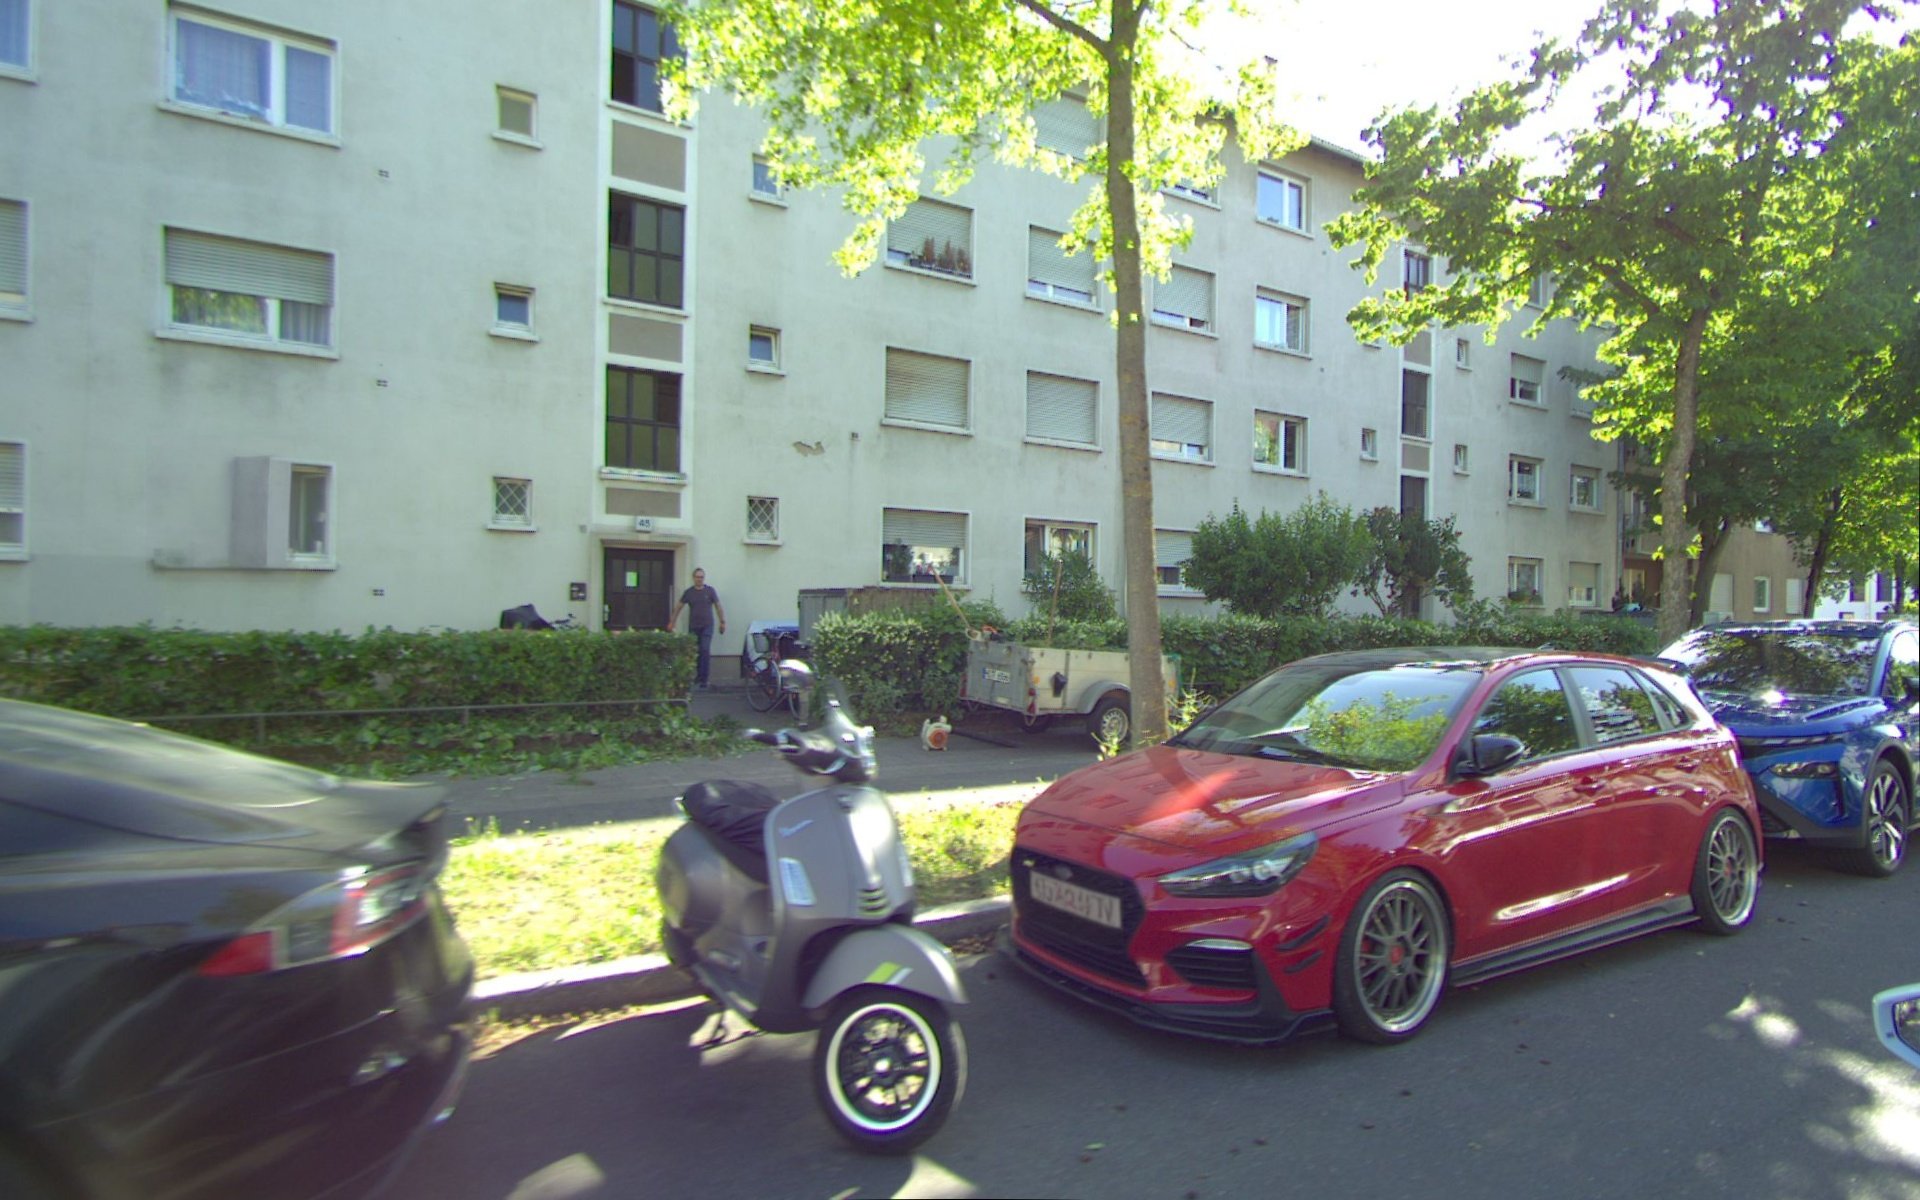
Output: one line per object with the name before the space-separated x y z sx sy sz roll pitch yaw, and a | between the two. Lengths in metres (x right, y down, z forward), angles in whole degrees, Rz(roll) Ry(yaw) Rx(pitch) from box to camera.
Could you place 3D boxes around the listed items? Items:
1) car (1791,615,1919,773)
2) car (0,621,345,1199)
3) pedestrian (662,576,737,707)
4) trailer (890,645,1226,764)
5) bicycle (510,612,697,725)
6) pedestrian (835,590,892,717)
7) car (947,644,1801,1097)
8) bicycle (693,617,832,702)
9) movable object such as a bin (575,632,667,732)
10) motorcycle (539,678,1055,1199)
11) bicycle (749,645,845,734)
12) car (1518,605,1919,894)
car | 10.641 0.918 10.488 4.076 1.472 1.820 1 -2 -32
car | -3.635 0.806 1.501 4.566 1.496 1.720 1 -4 -31
pedestrian | -3.983 0.628 15.313 1.010 1.913 0.932 1 -1 -20
trailer | 1.072 1.044 10.967 3.241 1.047 1.781 1 -1 -29
bicycle | -4.276 0.789 12.054 1.955 1.247 1.089 1 -1 -30
pedestrian | -1.506 0.825 15.797 0.862 1.939 0.783 1 -1 -4
car | 2.185 0.922 4.995 4.213 1.397 1.771 1 -3 -31
bicycle | -2.827 0.851 14.526 1.918 1.168 0.513 1 0 -8
movable object such as a bin | -3.798 0.892 11.244 0.833 1.047 0.879 1 -1 -29
motorcycle | -0.748 0.972 3.666 0.802 1.287 2.266 1 -3 -40
bicycle | -2.034 1.057 12.325 0.508 0.929 1.939 1 0 -30
car | 6.241 0.918 7.548 4.420 1.587 1.778 1 -4 -35
